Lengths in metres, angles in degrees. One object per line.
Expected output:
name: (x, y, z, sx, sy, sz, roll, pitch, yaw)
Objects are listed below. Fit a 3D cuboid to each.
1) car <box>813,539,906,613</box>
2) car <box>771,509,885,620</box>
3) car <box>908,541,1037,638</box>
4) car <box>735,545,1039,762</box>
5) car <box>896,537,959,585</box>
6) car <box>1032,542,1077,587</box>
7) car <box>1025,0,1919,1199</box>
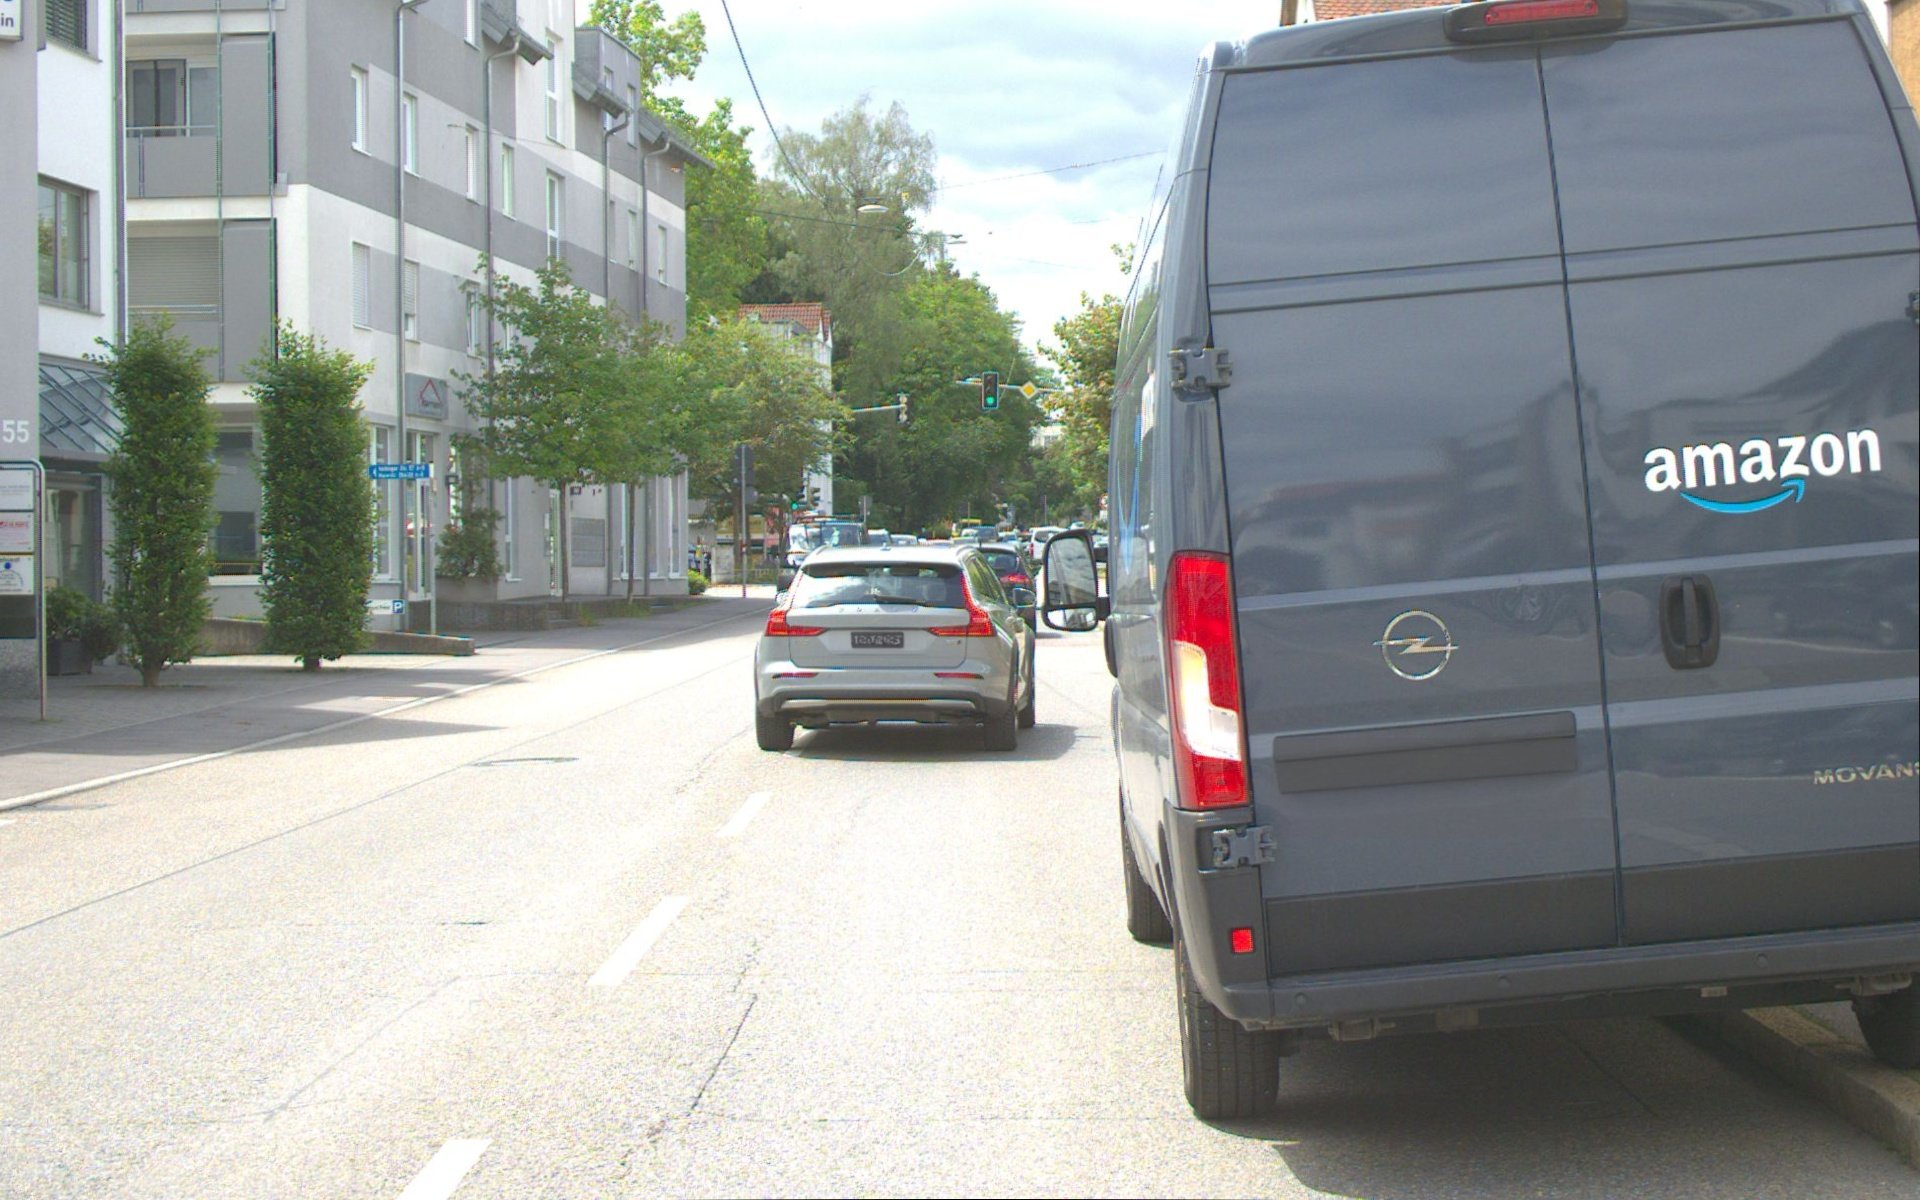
car: (-2.407, -0.610, 83.386, 2.105, 1.704, 4.766, -1, 1, 0)
car: (-2.688, -0.750, 71.212, 2.105, 2.114, 4.766, -3, 1, 0)
car: (0.234, -0.190, 53.901, 1.896, 1.441, 3.968, 0, 1, 2)
car: (-0.458, 0.332, 25.533, 1.897, 1.448, 3.968, 0, 1, 4)
car: (-1.111, -1.345, 117.726, 2.105, 1.590, 4.650, -1, 1, 0)
car: (4.332, -1.649, 156.761, 1.993, 2.007, 4.000, -1, 1, 2)
car: (1.466, -0.123, 10.423, 2.252, 2.786, 5.570, -1, 1, -2)
